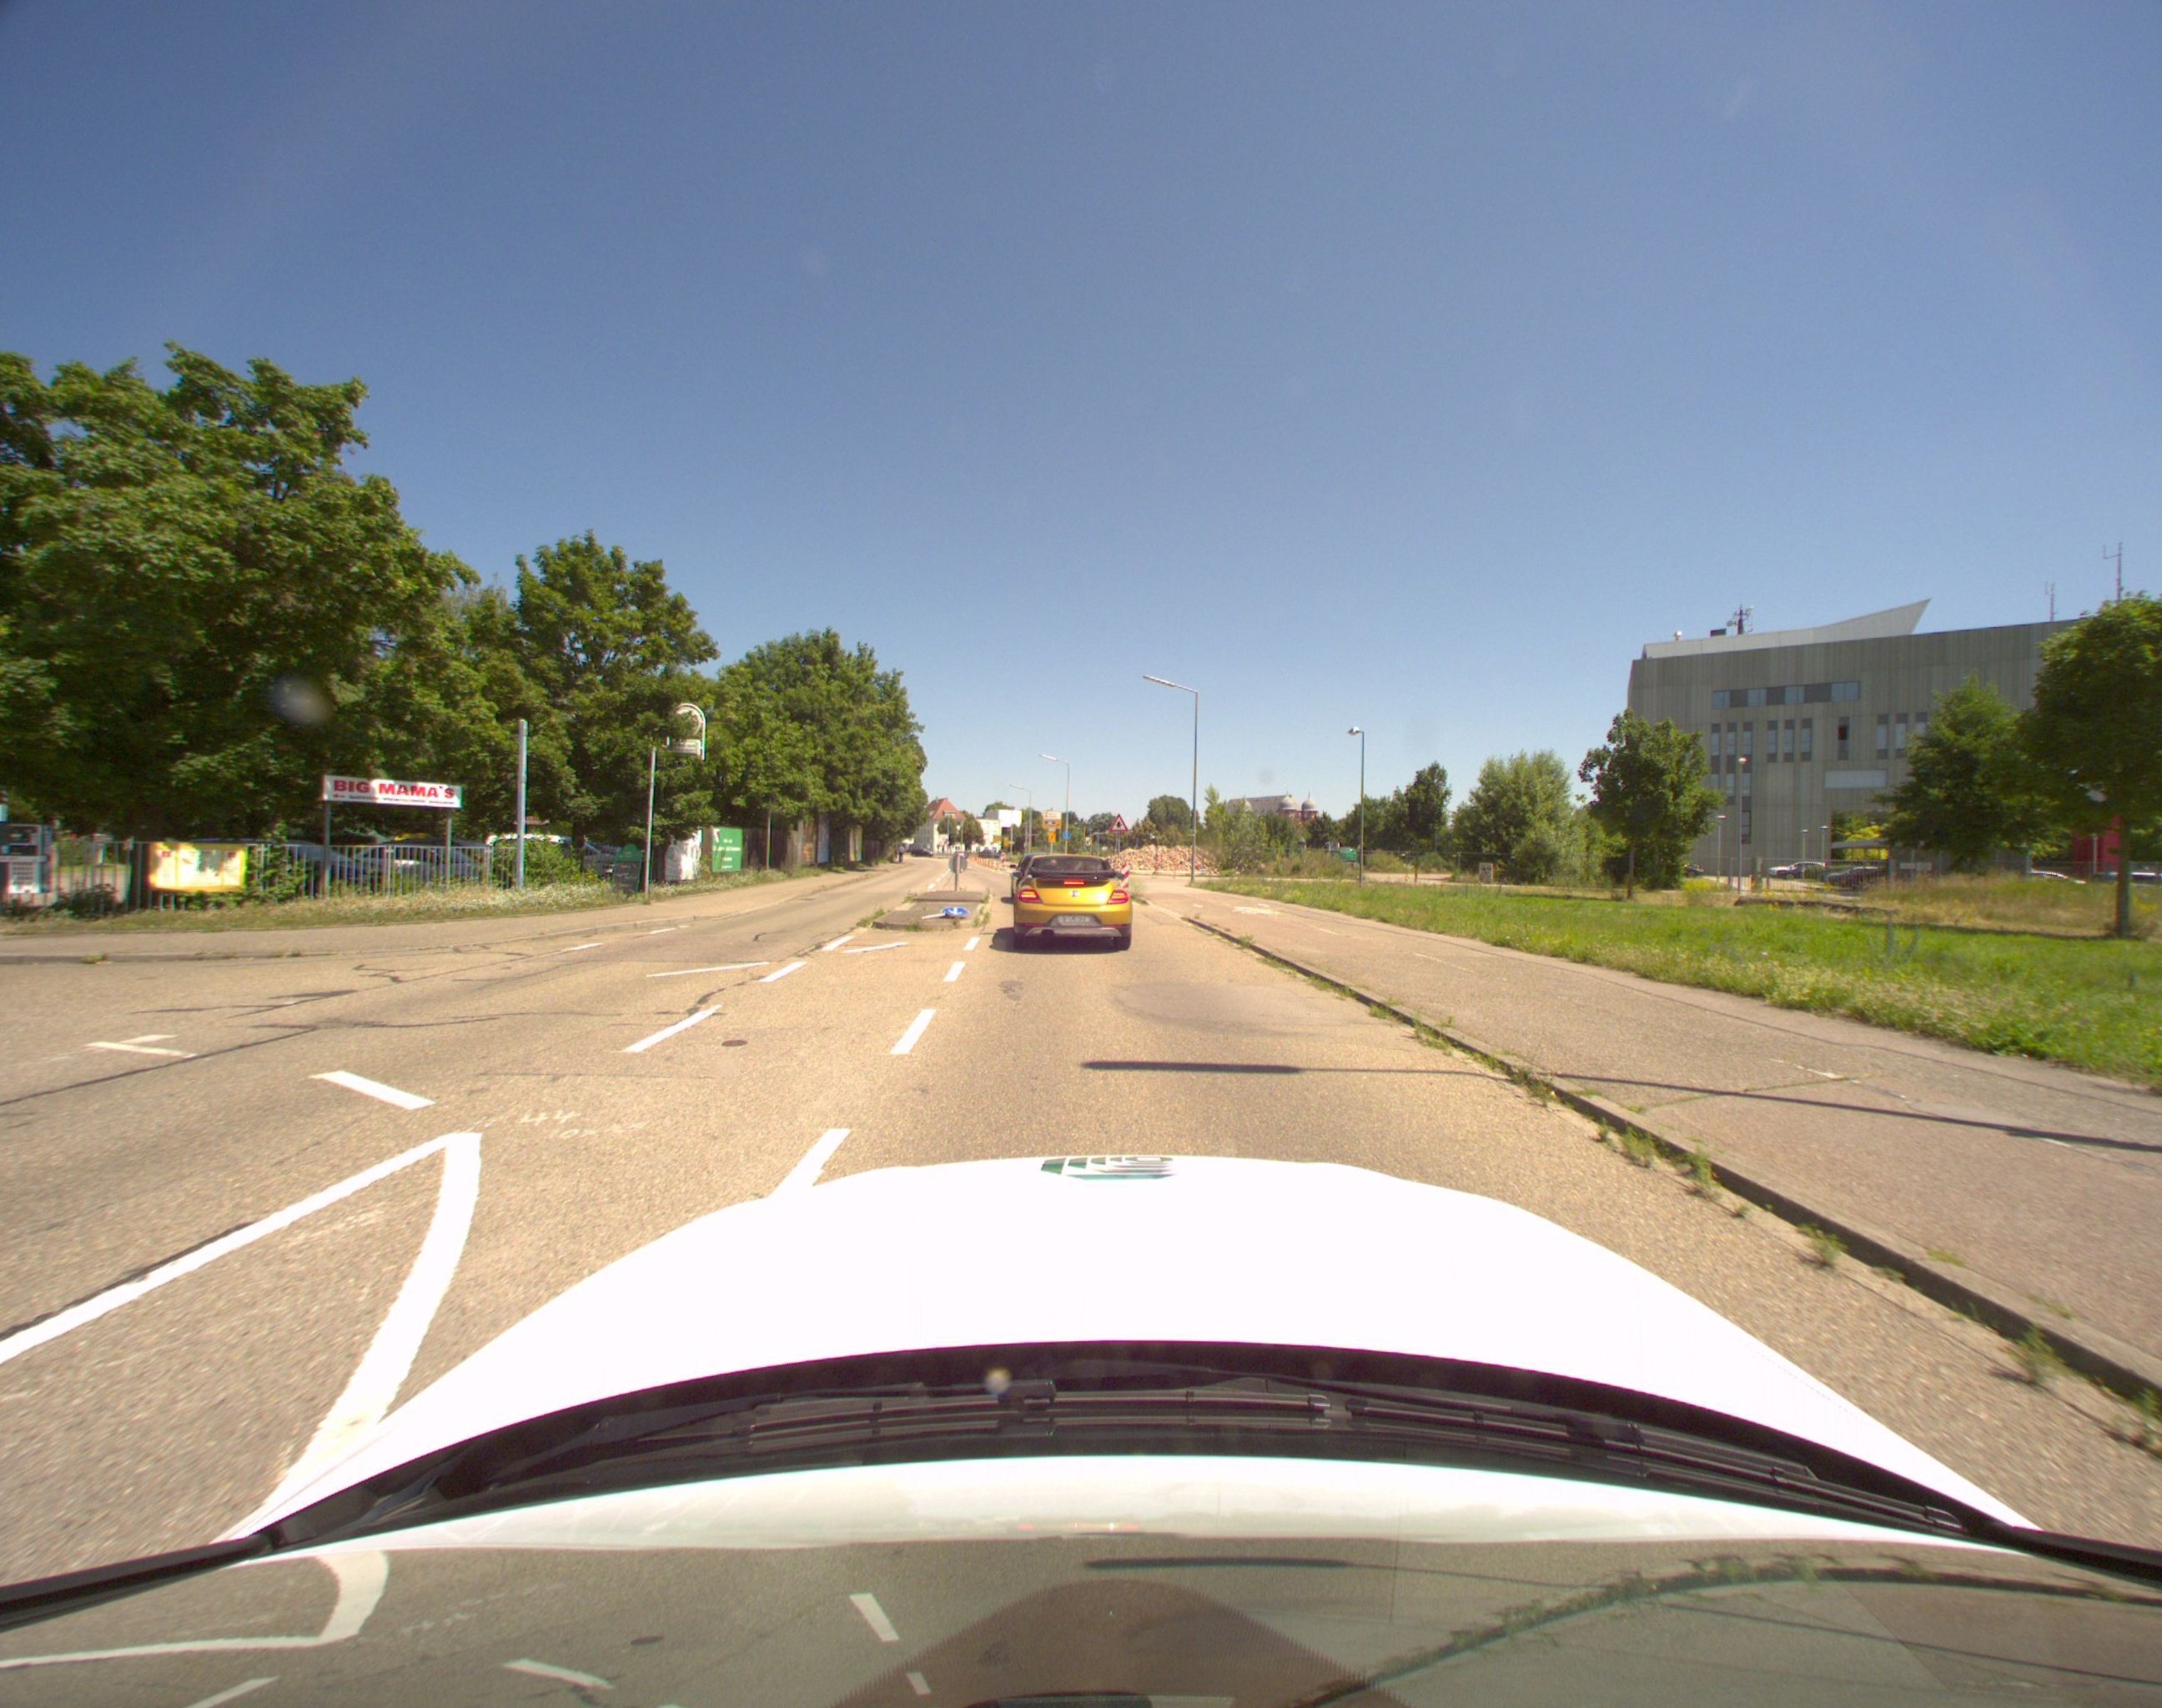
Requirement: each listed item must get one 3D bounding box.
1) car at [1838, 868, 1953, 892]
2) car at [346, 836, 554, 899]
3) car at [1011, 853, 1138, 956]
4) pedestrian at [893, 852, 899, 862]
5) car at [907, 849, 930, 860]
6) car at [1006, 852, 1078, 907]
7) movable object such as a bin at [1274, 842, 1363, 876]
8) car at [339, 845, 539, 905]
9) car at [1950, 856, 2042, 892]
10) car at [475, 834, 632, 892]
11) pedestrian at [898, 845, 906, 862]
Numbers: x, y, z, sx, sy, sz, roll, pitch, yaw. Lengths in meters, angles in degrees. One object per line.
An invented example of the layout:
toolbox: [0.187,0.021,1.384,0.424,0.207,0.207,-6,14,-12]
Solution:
car: [53.633,1.685,53.768,5.015,1.436,2.012,1,0,32]
car: [-19.477,0.407,25.329,4.809,1.840,1.999,1,0,-1]
car: [-0.248,0.720,13.513,1.787,1.436,3.807,1,0,-5]
pedestrian: [-27.138,0.369,119.439,0.723,1.454,0.814,1,0,-14]
car: [-30.961,0.077,155.689,3.975,2.014,1.999,1,0,-1]
car: [-1.222,0.697,23.717,1.725,1.443,3.989,1,0,-8]
movable object such as a bin: [24.890,0.511,86.219,4.941,3.260,10.430,1,0,-11]
car: [-17.425,0.555,22.273,3.858,1.526,1.806,1,0,-7]
car: [61.747,1.333,55.042,3.805,2.294,1.753,1,-1,33]
car: [-18.744,0.323,29.111,4.302,1.977,1.778,1,0,-8]
pedestrian: [-17.946,-0.044,81.653,0.723,1.725,0.814,1,-1,-14]
